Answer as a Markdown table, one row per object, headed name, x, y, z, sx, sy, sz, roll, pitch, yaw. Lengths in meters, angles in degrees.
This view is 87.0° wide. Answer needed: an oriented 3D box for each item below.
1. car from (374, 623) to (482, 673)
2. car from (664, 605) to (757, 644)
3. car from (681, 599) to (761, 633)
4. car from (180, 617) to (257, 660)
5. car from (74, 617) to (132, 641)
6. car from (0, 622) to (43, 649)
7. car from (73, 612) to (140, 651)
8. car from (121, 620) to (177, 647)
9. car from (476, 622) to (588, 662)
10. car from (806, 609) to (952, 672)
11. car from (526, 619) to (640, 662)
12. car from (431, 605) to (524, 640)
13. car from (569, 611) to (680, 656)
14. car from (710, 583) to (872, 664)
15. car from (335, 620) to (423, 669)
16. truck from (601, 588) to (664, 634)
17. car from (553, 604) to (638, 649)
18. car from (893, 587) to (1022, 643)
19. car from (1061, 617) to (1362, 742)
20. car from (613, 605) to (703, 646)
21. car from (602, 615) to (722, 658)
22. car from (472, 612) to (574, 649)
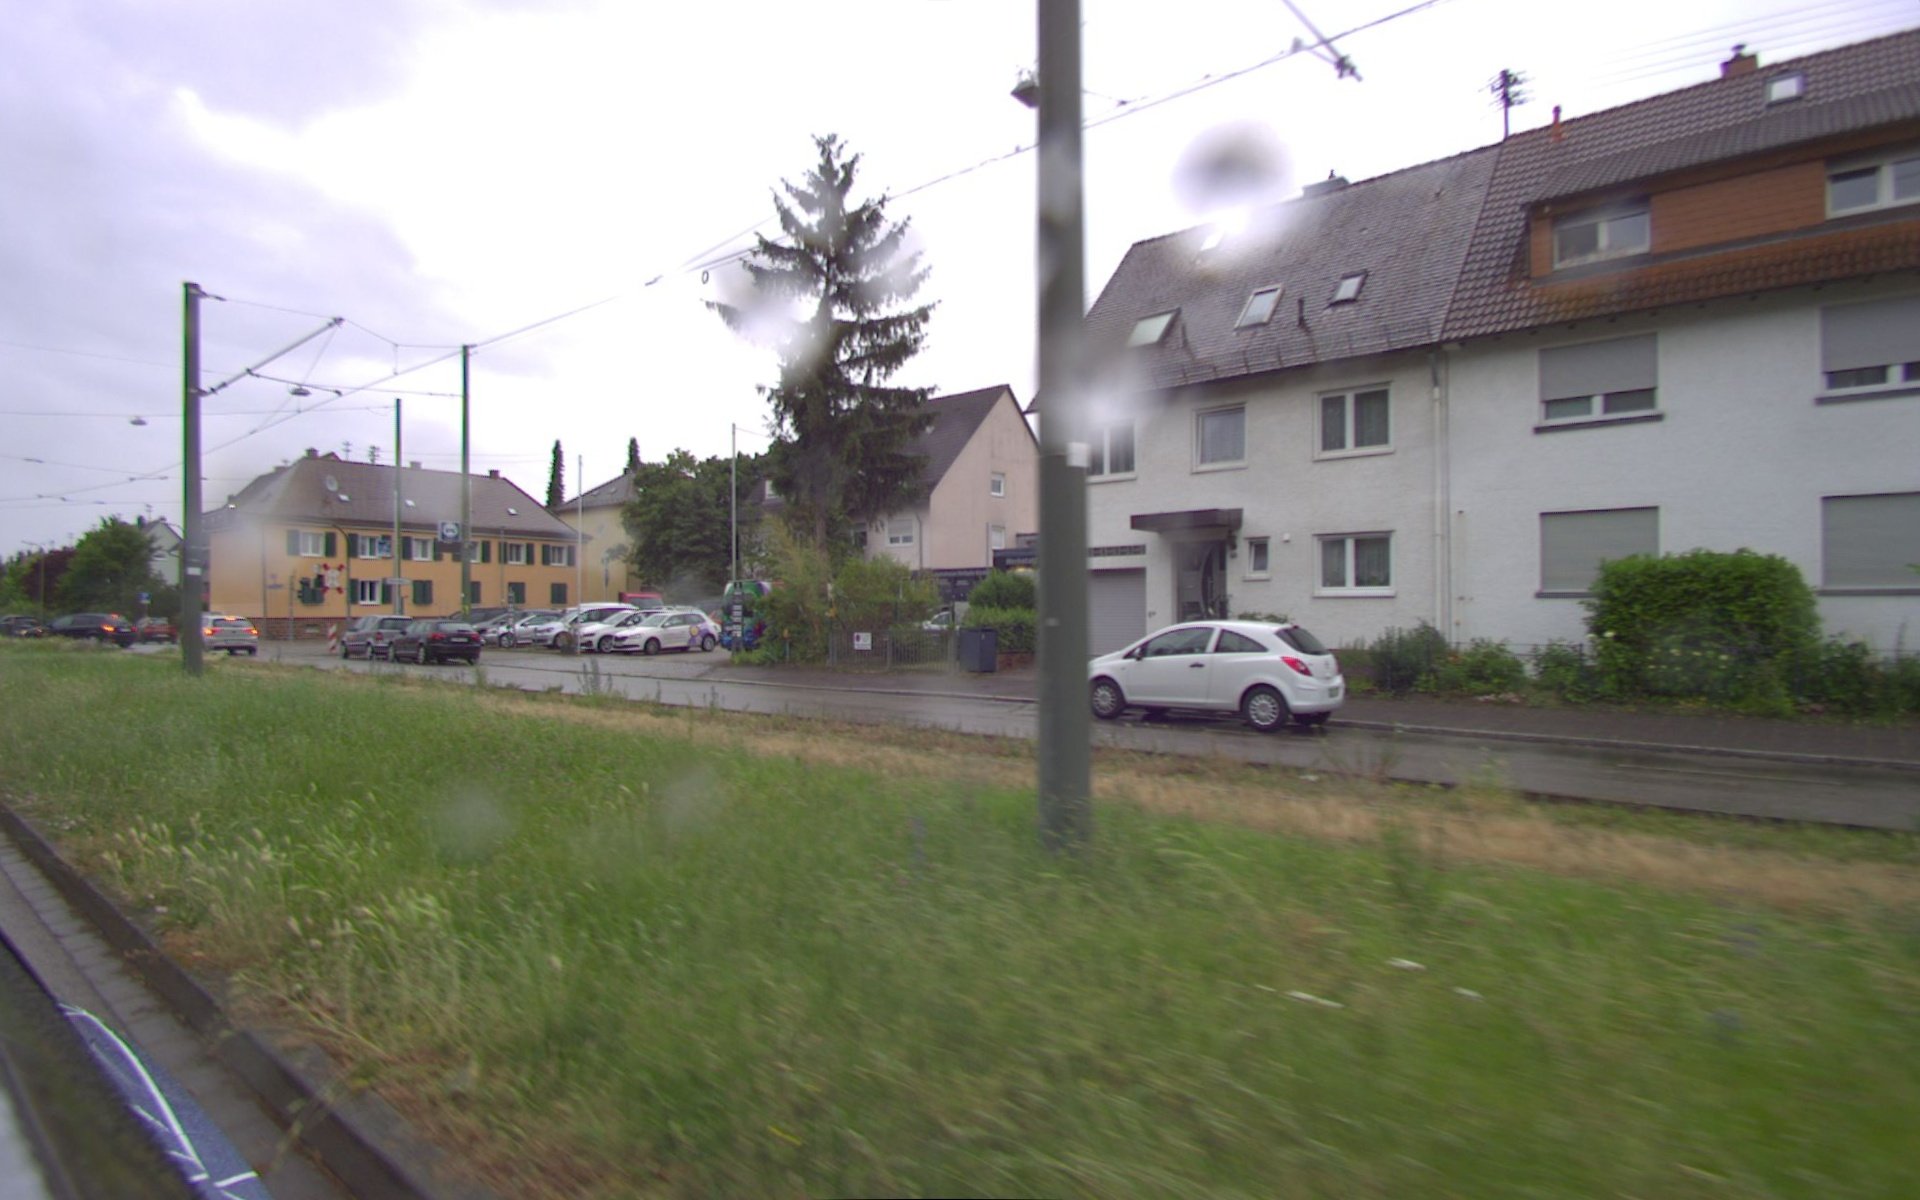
| name | x | y | z | sx | sy | sz | roll | pitch | yaw |
| --- | --- | --- | --- | --- | --- | --- | --- | --- | --- |
| car | -17.394 | 1.505 | 32.987 | 4.388 | 1.349 | 1.699 | 2 | 0 | 42 |
| car | -11.244 | 1.110 | 45.517 | 4.447 | 1.700 | 1.972 | -2 | -2 | 43 |
| car | -12.499 | 0.854 | 52.831 | 4.447 | 1.700 | 1.972 | -2 | -2 | 43 |
| car | -28.166 | 1.424 | 38.412 | 3.819 | 1.434 | 1.584 | 2 | 0 | 42 |
| car | -52.878 | 1.755 | 62.425 | 4.500 | 1.406 | 1.941 | -1 | -1 | 39 |
| car | -69.195 | 2.565 | 74.179 | 3.989 | 1.807 | 1.977 | 1 | 0 | 34 |
| car | -37.248 | 1.347 | 44.121 | 4.000 | 1.497 | 1.718 | 2 | 0 | 42 |
| car | -45.876 | 1.879 | 57.209 | 3.612 | 1.349 | 1.701 | 2 | 0 | 38 |
| car | -17.626 | 1.696 | 41.739 | 3.989 | 1.515 | 1.839 | 1 | 0 | -32 |
| car | -2.365 | 1.161 | 28.993 | 3.892 | 1.577 | 1.973 | -5 | -4 | 40 |
| car | -14.820 | 1.550 | 39.881 | 3.813 | 1.591 | 1.809 | 1 | -2 | -43 |
| car | -22.957 | 1.050 | 48.283 | 3.805 | 1.591 | 1.813 | 0 | -2 | -17 |
| car | -12.602 | 1.222 | 38.087 | 1.723 | 1.585 | 3.565 | 1 | 0 | 44 |
| car | -5.453 | 0.714 | 33.249 | 2.150 | 2.424 | 5.080 | 1 | 0 | 40 |
| car | -20.604 | 1.533 | 35.862 | 3.644 | 1.515 | 1.698 | 2 | 0 | 43 |
| truck | -17.434 | 0.654 | 53.639 | 1.966 | 2.289 | 6.121 | 1 | -2 | -30 |
| car | -17.291 | 1.277 | 47.863 | 4.447 | 2.029 | 1.972 | -2 | -2 | 43 |
| car | -0.109 | 0.521 | 33.531 | 3.892 | 1.577 | 1.973 | -5 | -4 | 40 |
| car | 3.534 | 1.034 | 14.636 | 3.942 | 1.434 | 1.584 | 2 | 0 | 41 |
| car | -13.148 | 1.100 | 43.952 | 4.447 | 1.700 | 1.735 | -2 | -2 | 43 |
| car | -10.708 | 1.274 | 36.477 | 1.723 | 1.406 | 3.787 | 2 | 0 | 44 |
| car | -18.930 | 1.312 | 44.007 | 3.988 | 1.515 | 1.840 | 1 | 0 | -21 |
